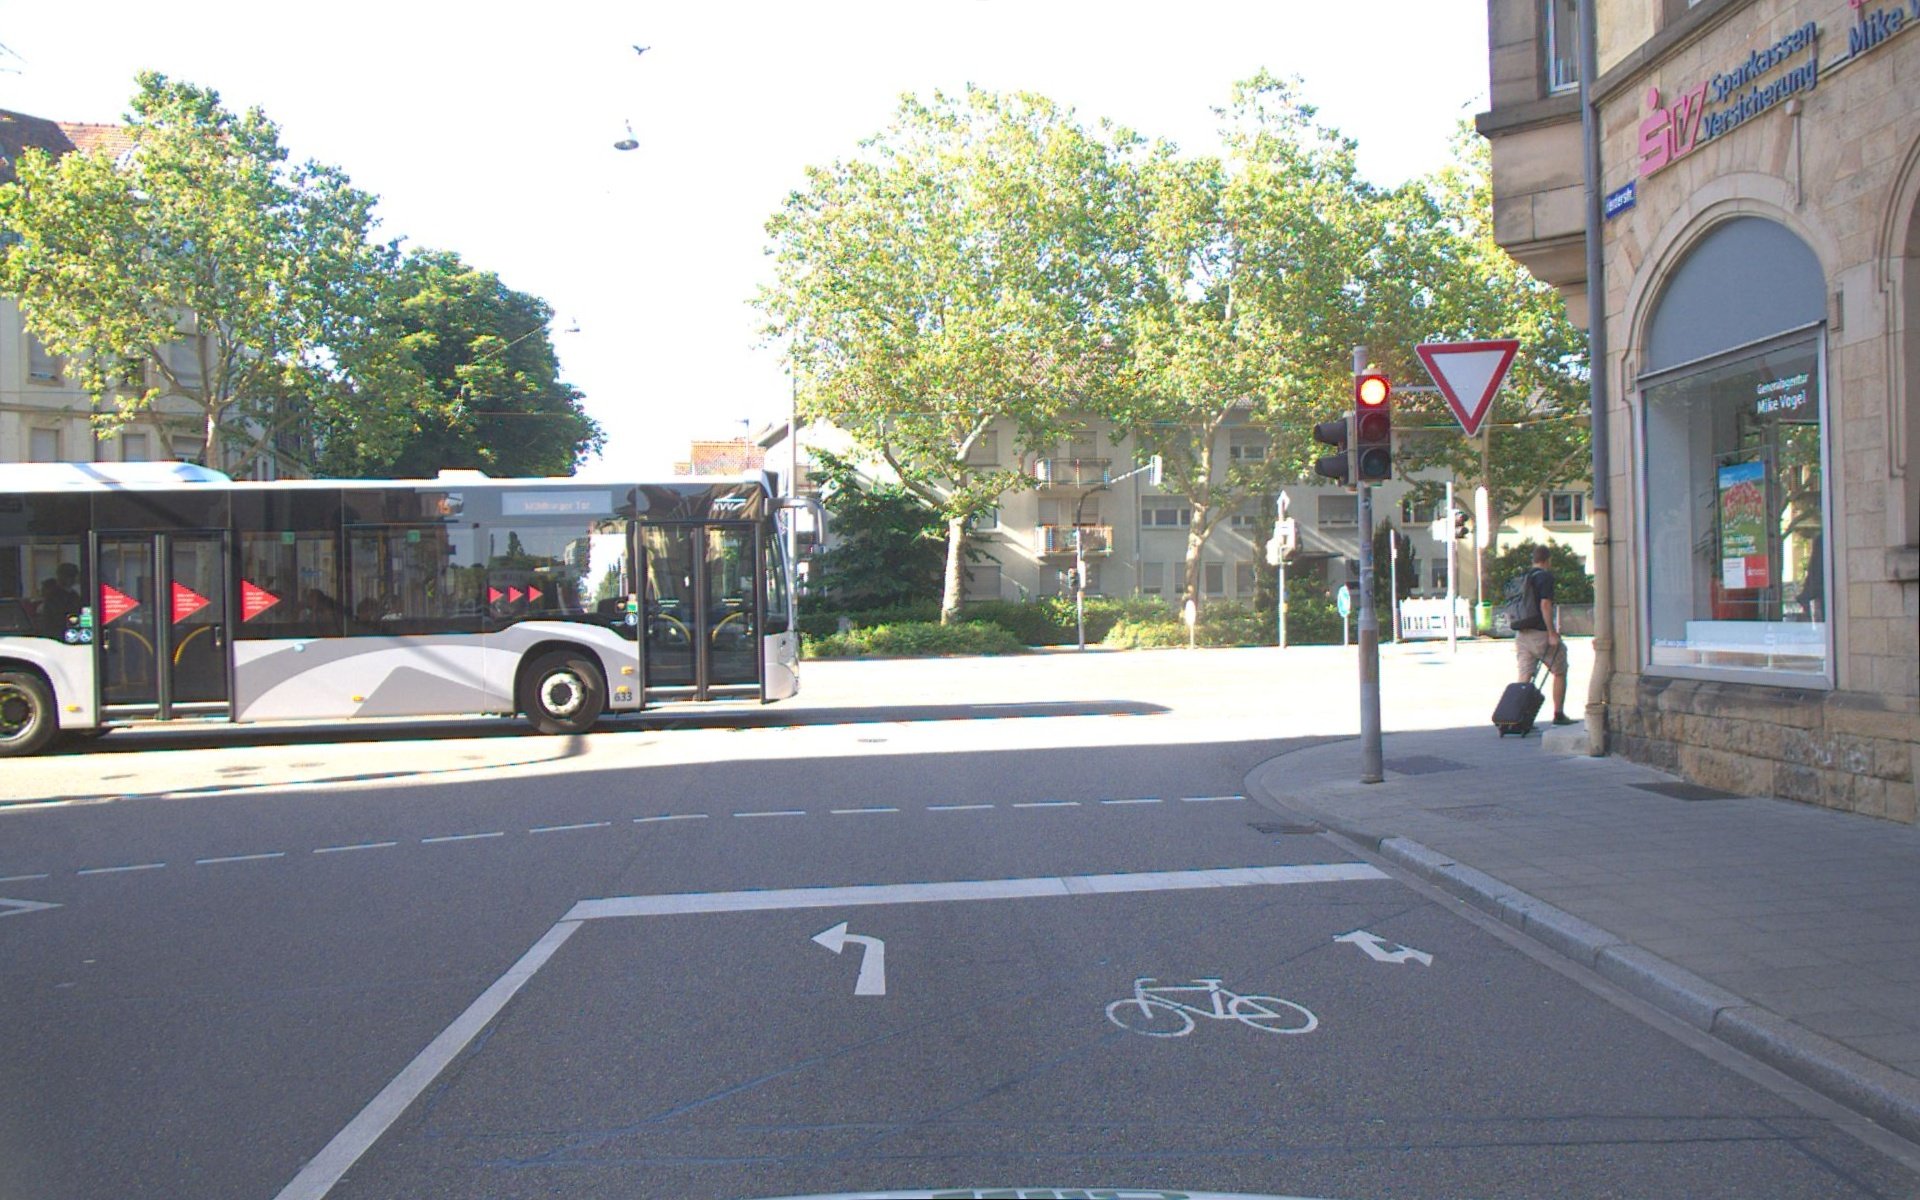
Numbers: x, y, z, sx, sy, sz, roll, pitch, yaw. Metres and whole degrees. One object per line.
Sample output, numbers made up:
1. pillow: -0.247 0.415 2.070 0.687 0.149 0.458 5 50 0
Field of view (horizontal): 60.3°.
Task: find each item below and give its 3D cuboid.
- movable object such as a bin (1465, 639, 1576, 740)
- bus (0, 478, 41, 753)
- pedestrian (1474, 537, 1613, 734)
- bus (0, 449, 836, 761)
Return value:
1. movable object such as a bin: 5.349 0.844 15.806 0.847 0.907 0.508 -2 0 -13
2. bus: -15.193 0.239 17.916 8.665 3.150 2.738 -1 0 -11
3. pedestrian: 5.736 0.339 16.284 1.047 1.881 0.746 0 0 -13
4. bus: -6.320 0.000 19.510 9.443 3.150 2.740 -2 0 -9
